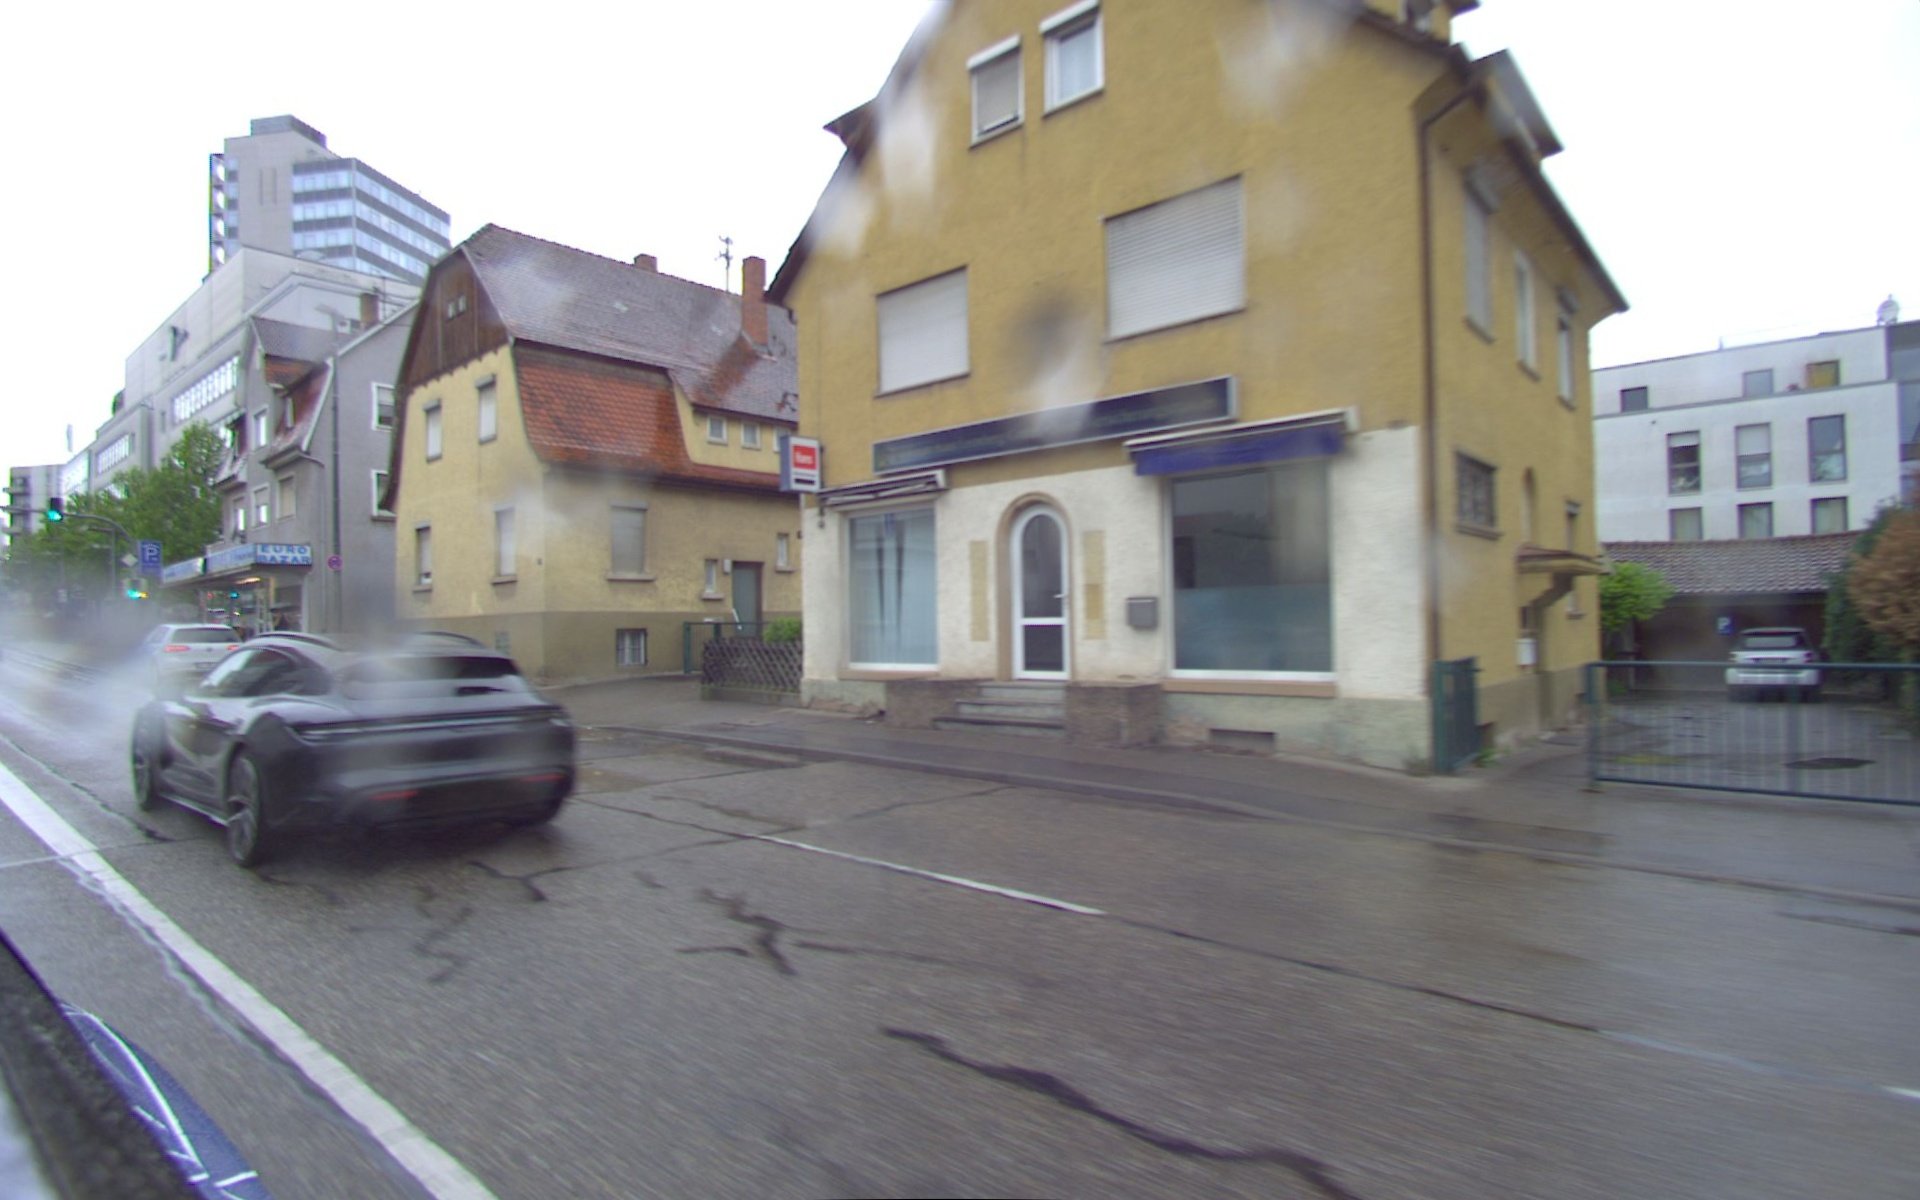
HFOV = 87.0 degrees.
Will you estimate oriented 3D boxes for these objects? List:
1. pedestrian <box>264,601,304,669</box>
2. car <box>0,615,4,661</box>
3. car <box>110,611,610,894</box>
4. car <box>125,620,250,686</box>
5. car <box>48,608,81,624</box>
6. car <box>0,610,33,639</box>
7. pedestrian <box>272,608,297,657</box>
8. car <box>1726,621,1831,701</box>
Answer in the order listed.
[{"bbox_3d":[-19.920,1.017,29.833,0.944,1.935,0.656,0,1,33],"label":"pedestrian"},{"bbox_3d":[-36.128,1.331,36.543,4.716,1.621,1.859,0,-2,41],"label":"car"},{"bbox_3d":[-4.535,0.815,7.315,4.523,1.424,1.750,0,-2,41],"label":"car"},{"bbox_3d":[-18.903,1.263,24.694,4.138,1.428,1.631,0,-4,42],"label":"car"},{"bbox_3d":[-78.914,1.416,89.144,3.729,1.421,1.734,0,-2,42],"label":"car"},{"bbox_3d":[-54.465,1.377,57.807,4.950,1.630,1.978,0,-2,45],"label":"car"},{"bbox_3d":[-21.855,1.055,32.731,0.446,1.569,0.537,-1,-2,41],"label":"pedestrian"},{"bbox_3d":[17.880,1.281,22.078,1.686,1.585,2.928,0,-2,41],"label":"car"}]
